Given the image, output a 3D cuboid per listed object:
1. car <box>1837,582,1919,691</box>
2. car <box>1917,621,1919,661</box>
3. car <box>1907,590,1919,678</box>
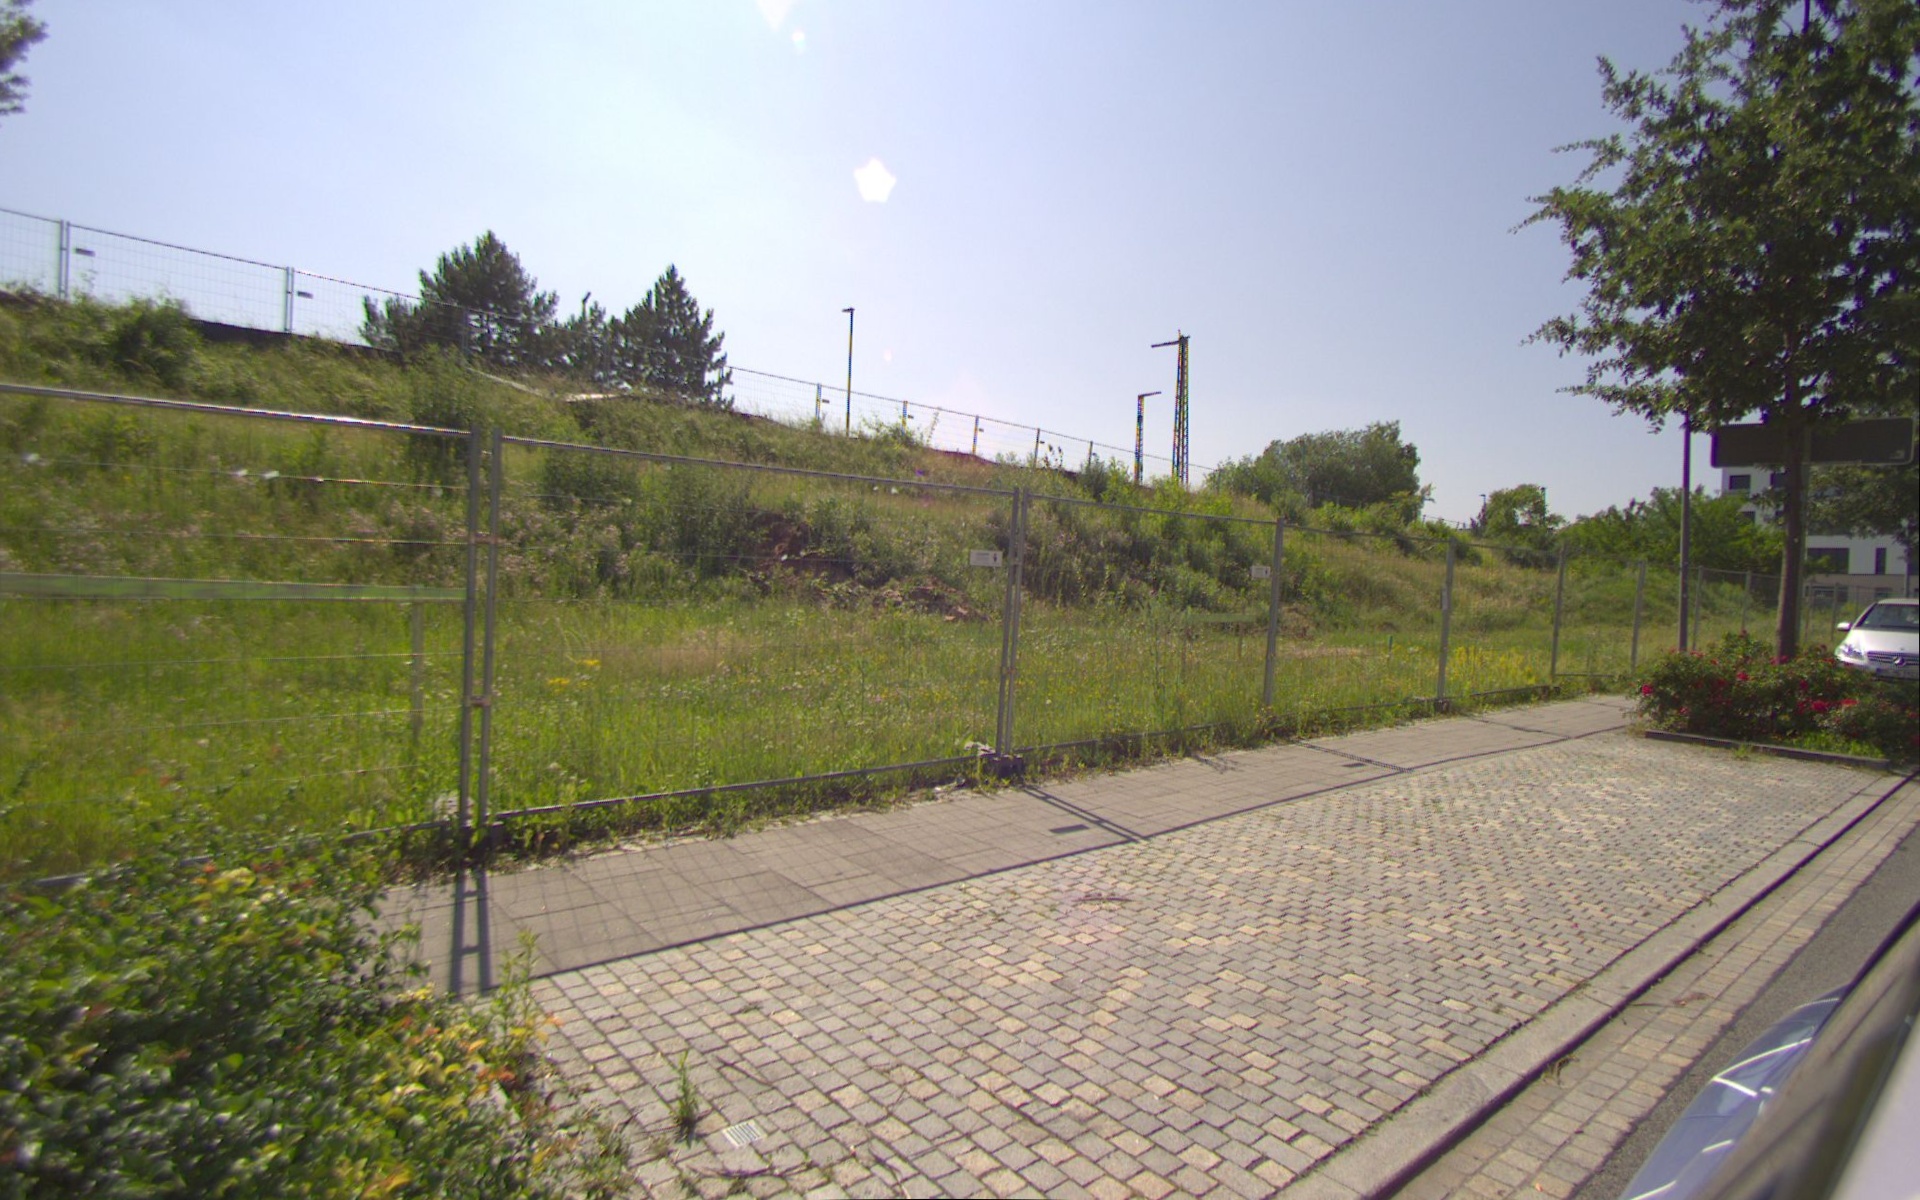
[{"bbox_3d":[16.580,0.630,17.215,4.293,1.635,1.847,1,3,-41],"label":"car"},{"bbox_3d":[25.217,0.730,25.001,3.930,1.636,1.846,1,3,-41],"label":"car"},{"bbox_3d":[20.052,0.722,19.731,3.930,1.636,1.847,1,3,-41],"label":"car"}]
